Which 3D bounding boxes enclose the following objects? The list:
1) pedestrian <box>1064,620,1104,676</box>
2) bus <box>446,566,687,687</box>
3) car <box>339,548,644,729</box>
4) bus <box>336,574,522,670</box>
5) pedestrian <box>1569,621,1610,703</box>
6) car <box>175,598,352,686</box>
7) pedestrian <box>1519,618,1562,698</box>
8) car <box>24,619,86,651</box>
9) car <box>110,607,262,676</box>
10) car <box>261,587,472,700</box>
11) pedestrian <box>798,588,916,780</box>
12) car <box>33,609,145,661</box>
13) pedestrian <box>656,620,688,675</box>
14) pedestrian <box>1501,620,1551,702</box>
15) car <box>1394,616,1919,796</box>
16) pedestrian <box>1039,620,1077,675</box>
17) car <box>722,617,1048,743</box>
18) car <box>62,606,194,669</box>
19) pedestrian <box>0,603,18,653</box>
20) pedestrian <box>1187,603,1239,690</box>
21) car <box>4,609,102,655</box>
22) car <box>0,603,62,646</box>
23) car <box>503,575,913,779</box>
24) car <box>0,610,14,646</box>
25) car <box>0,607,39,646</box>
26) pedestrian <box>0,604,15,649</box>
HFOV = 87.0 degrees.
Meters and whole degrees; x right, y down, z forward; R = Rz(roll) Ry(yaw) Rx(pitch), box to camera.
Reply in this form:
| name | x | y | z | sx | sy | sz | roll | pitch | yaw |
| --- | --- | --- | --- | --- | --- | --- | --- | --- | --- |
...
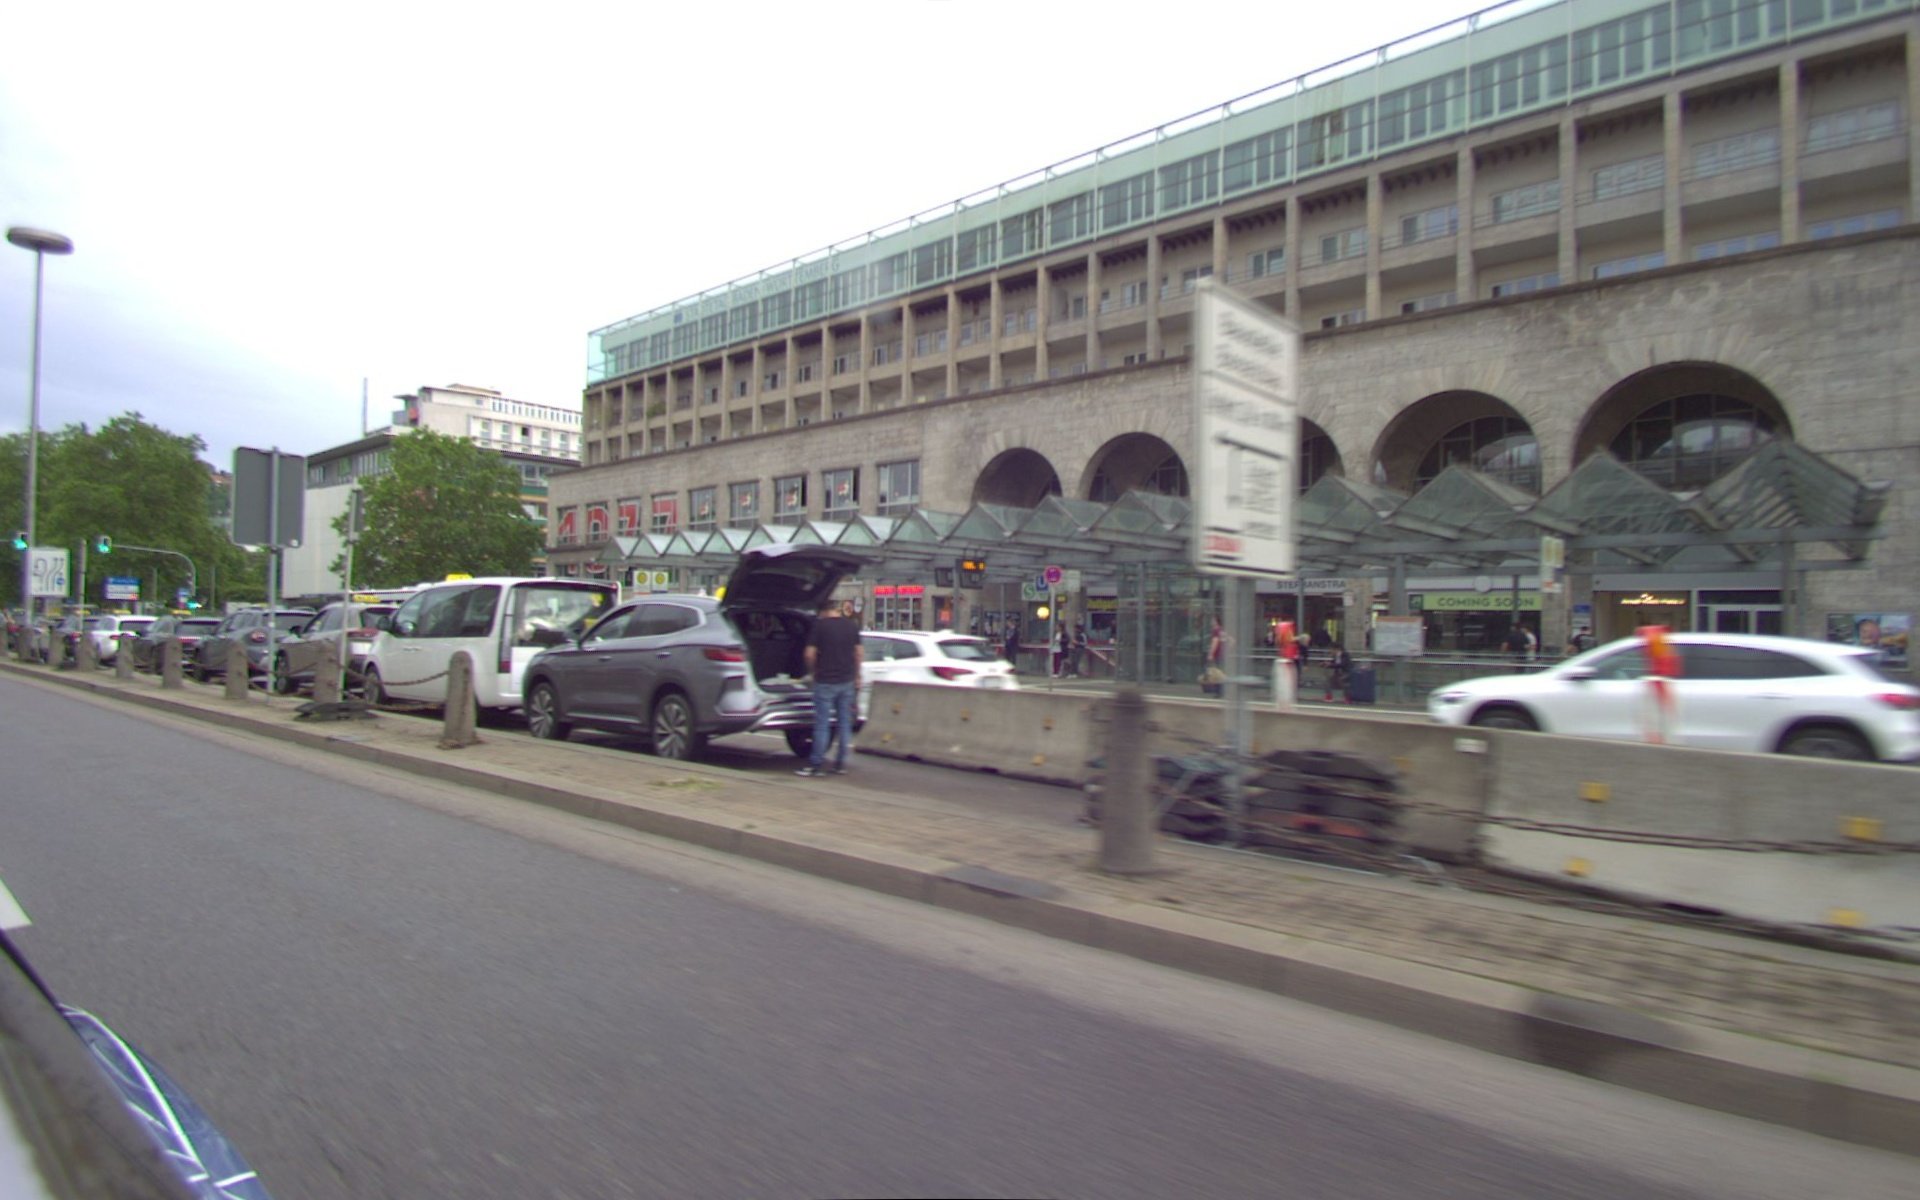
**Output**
| name | x | y | z | sx | sy | sz | roll | pitch | yaw |
| --- | --- | --- | --- | --- | --- | --- | --- | --- | --- |
| pedestrian | 3.753 | 1.436 | 30.622 | 0.894 | 1.668 | 0.748 | -2 | -1 | 42 |
| bus | -13.406 | 0.859 | 33.750 | 10.567 | 3.486 | 2.848 | -1 | -2 | 41 |
| car | -7.036 | 0.528 | 14.857 | 5.541 | 2.195 | 1.973 | -1 | -2 | 41 |
| bus | -21.493 | 0.894 | 40.574 | 10.567 | 3.402 | 2.848 | -1 | -2 | 41 |
| pedestrian | 16.259 | 1.580 | 26.138 | 0.771 | 2.057 | 0.795 | -1 | -3 | 43 |
| car | -15.275 | 0.883 | 22.102 | 4.881 | 1.712 | 1.910 | 0 | -3 | 40 |
| pedestrian | 15.879 | 1.574 | 27.704 | 0.759 | 2.142 | 0.807 | 2 | -2 | -41 |
| car | -52.035 | 2.011 | 58.153 | 4.678 | 1.703 | 1.910 | 0 | -3 | 39 |
| car | -19.868 | 1.025 | 25.896 | 5.047 | 1.589 | 1.910 | 0 | -3 | 39 |
| car | -10.880 | 0.753 | 18.422 | 4.580 | 1.820 | 1.909 | -1 | -3 | 41 |
| pedestrian | -0.941 | 0.740 | 9.302 | 0.763 | 1.665 | 0.752 | -1 | -2 | 41 |
| car | -28.967 | 1.136 | 33.615 | 5.007 | 1.589 | 1.910 | 0 | -3 | 39 |
| pedestrian | -9.337 | 1.537 | 32.757 | 0.855 | 1.738 | 0.617 | -2 | -1 | 41 |
| pedestrian | 15.134 | 1.617 | 27.068 | 0.759 | 2.142 | 0.980 | 2 | -2 | -41 |
| car | 7.521 | 1.027 | 10.986 | 4.832 | 1.576 | 1.942 | -1 | -4 | 40 |
| pedestrian | 3.019 | 1.452 | 31.157 | 0.894 | 1.668 | 0.748 | -2 | -1 | 42 |
| car | -1.235 | 1.098 | 14.953 | 4.832 | 1.576 | 1.942 | -1 | -4 | 40 |
| car | -24.351 | 1.059 | 29.552 | 5.187 | 1.672 | 1.957 | 0 | -3 | 39 |
| pedestrian | -34.494 | 1.012 | 36.210 | 0.616 | 1.782 | 1.040 | -1 | -2 | 39 |
| pedestrian | 6.108 | 1.109 | 24.425 | 0.960 | 2.029 | 0.833 | -1 | -2 | 41 |
| car | -34.055 | 1.185 | 37.962 | 5.256 | 1.589 | 1.910 | 0 | -3 | 40 |
| car | -39.156 | 1.005 | 42.097 | 4.678 | 1.703 | 1.910 | 0 | -3 | 39 |
| car | -2.905 | 0.711 | 10.979 | 4.780 | 1.735 | 1.972 | -1 | -2 | 42 |
| car | -47.845 | 1.337 | 49.317 | 4.678 | 1.703 | 1.910 | 0 | -3 | 39 |
| car | -43.092 | 1.163 | 45.414 | 4.678 | 1.703 | 1.910 | 0 | -3 | 39 |
| pedestrian | -35.415 | 0.981 | 37.309 | 0.995 | 1.619 | 0.715 | -2 | -1 | 40 |
